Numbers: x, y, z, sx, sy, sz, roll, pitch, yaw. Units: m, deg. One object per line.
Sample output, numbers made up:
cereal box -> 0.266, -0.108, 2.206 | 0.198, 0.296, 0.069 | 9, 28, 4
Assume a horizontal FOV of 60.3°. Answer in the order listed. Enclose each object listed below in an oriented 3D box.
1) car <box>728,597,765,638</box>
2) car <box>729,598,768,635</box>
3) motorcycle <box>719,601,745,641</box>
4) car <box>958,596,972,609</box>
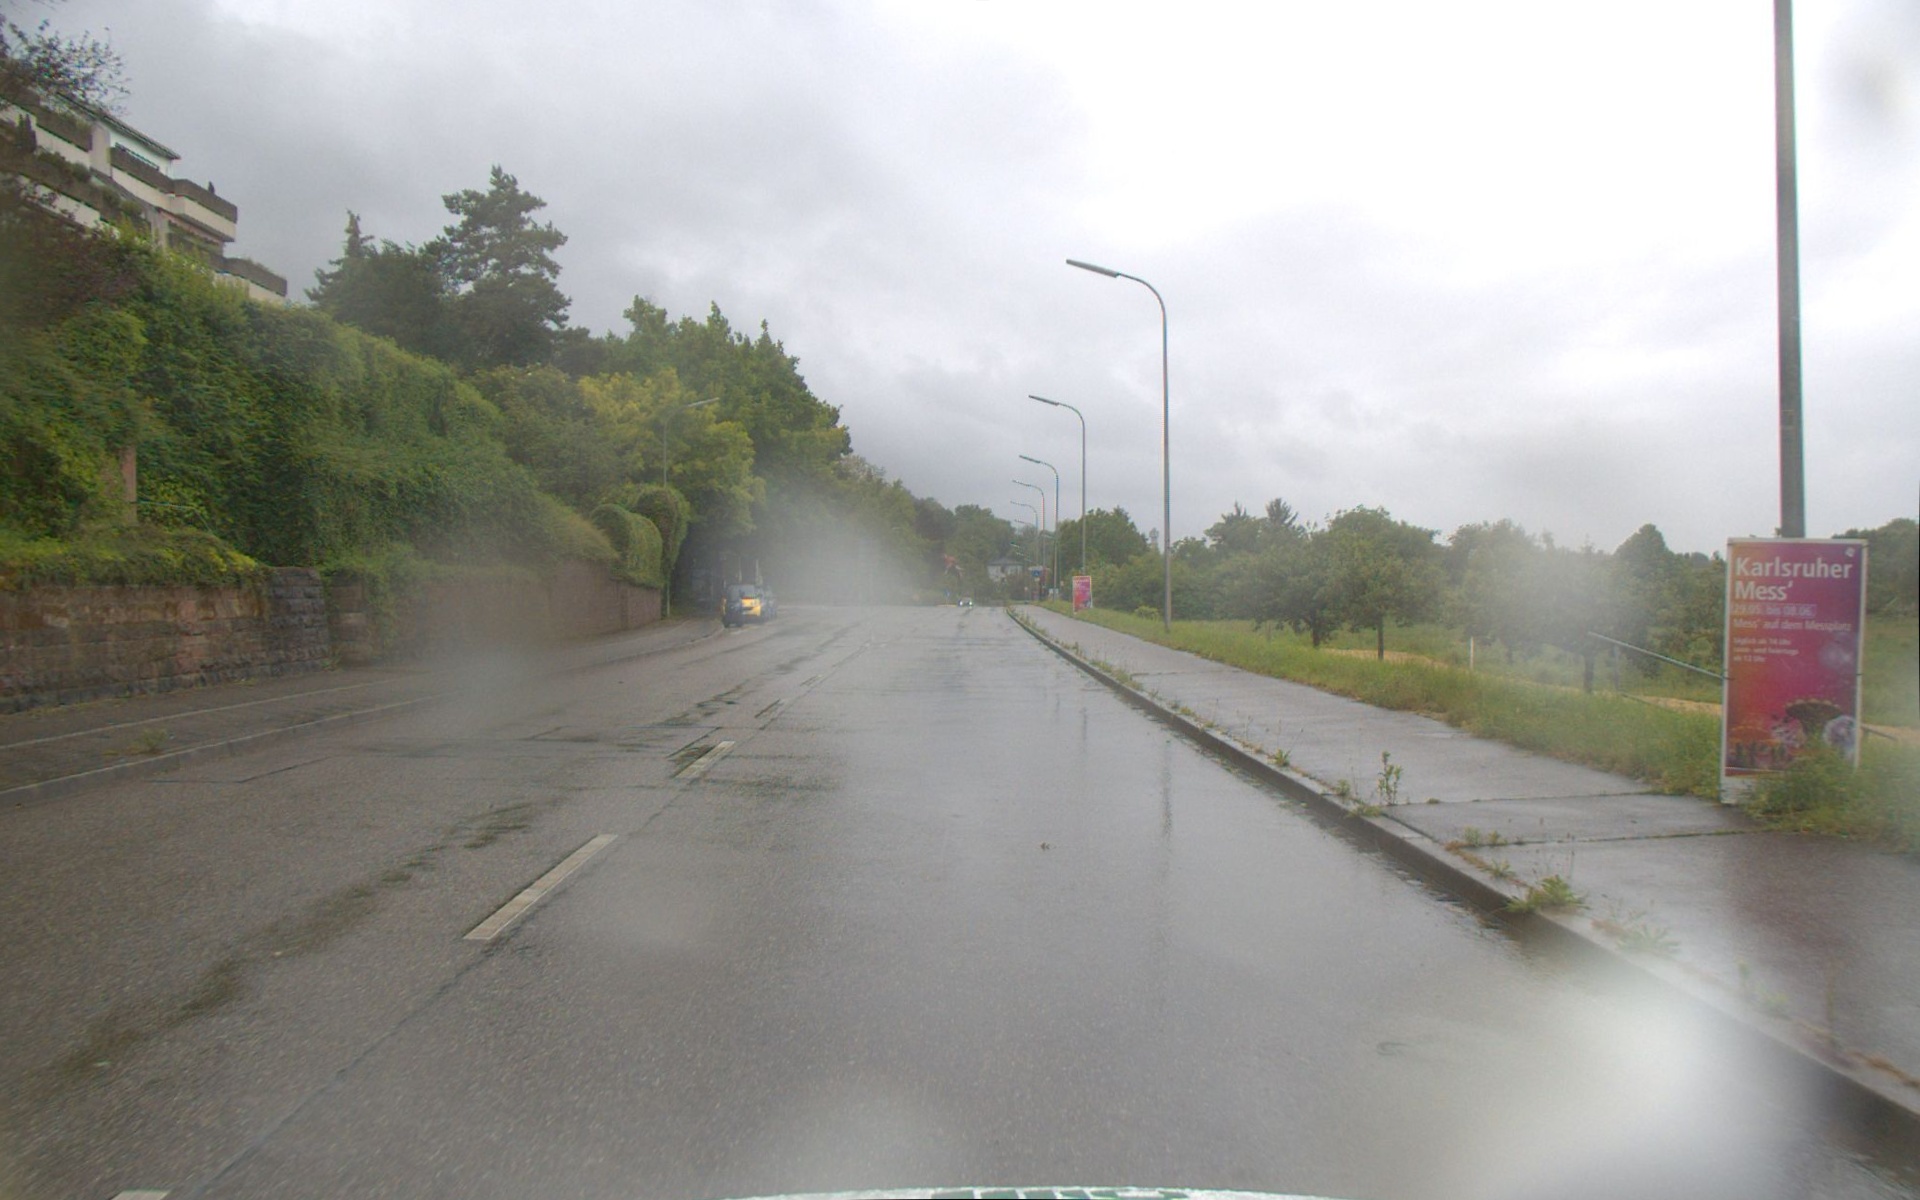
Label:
car -> -8.453, 0.663, 65.397 | 1.406, 1.564, 2.814 | -1, 0, -9
car -> -8.859, 0.669, 69.534 | 1.405, 1.444, 4.100 | -1, 0, -5
motorcycle -> -8.115, 0.742, 58.888 | 0.821, 1.364, 2.496 | -1, 0, -6
car -> 0.714, 0.394, 231.272 | 1.758, 1.793, 3.998 | 0, 0, -2
